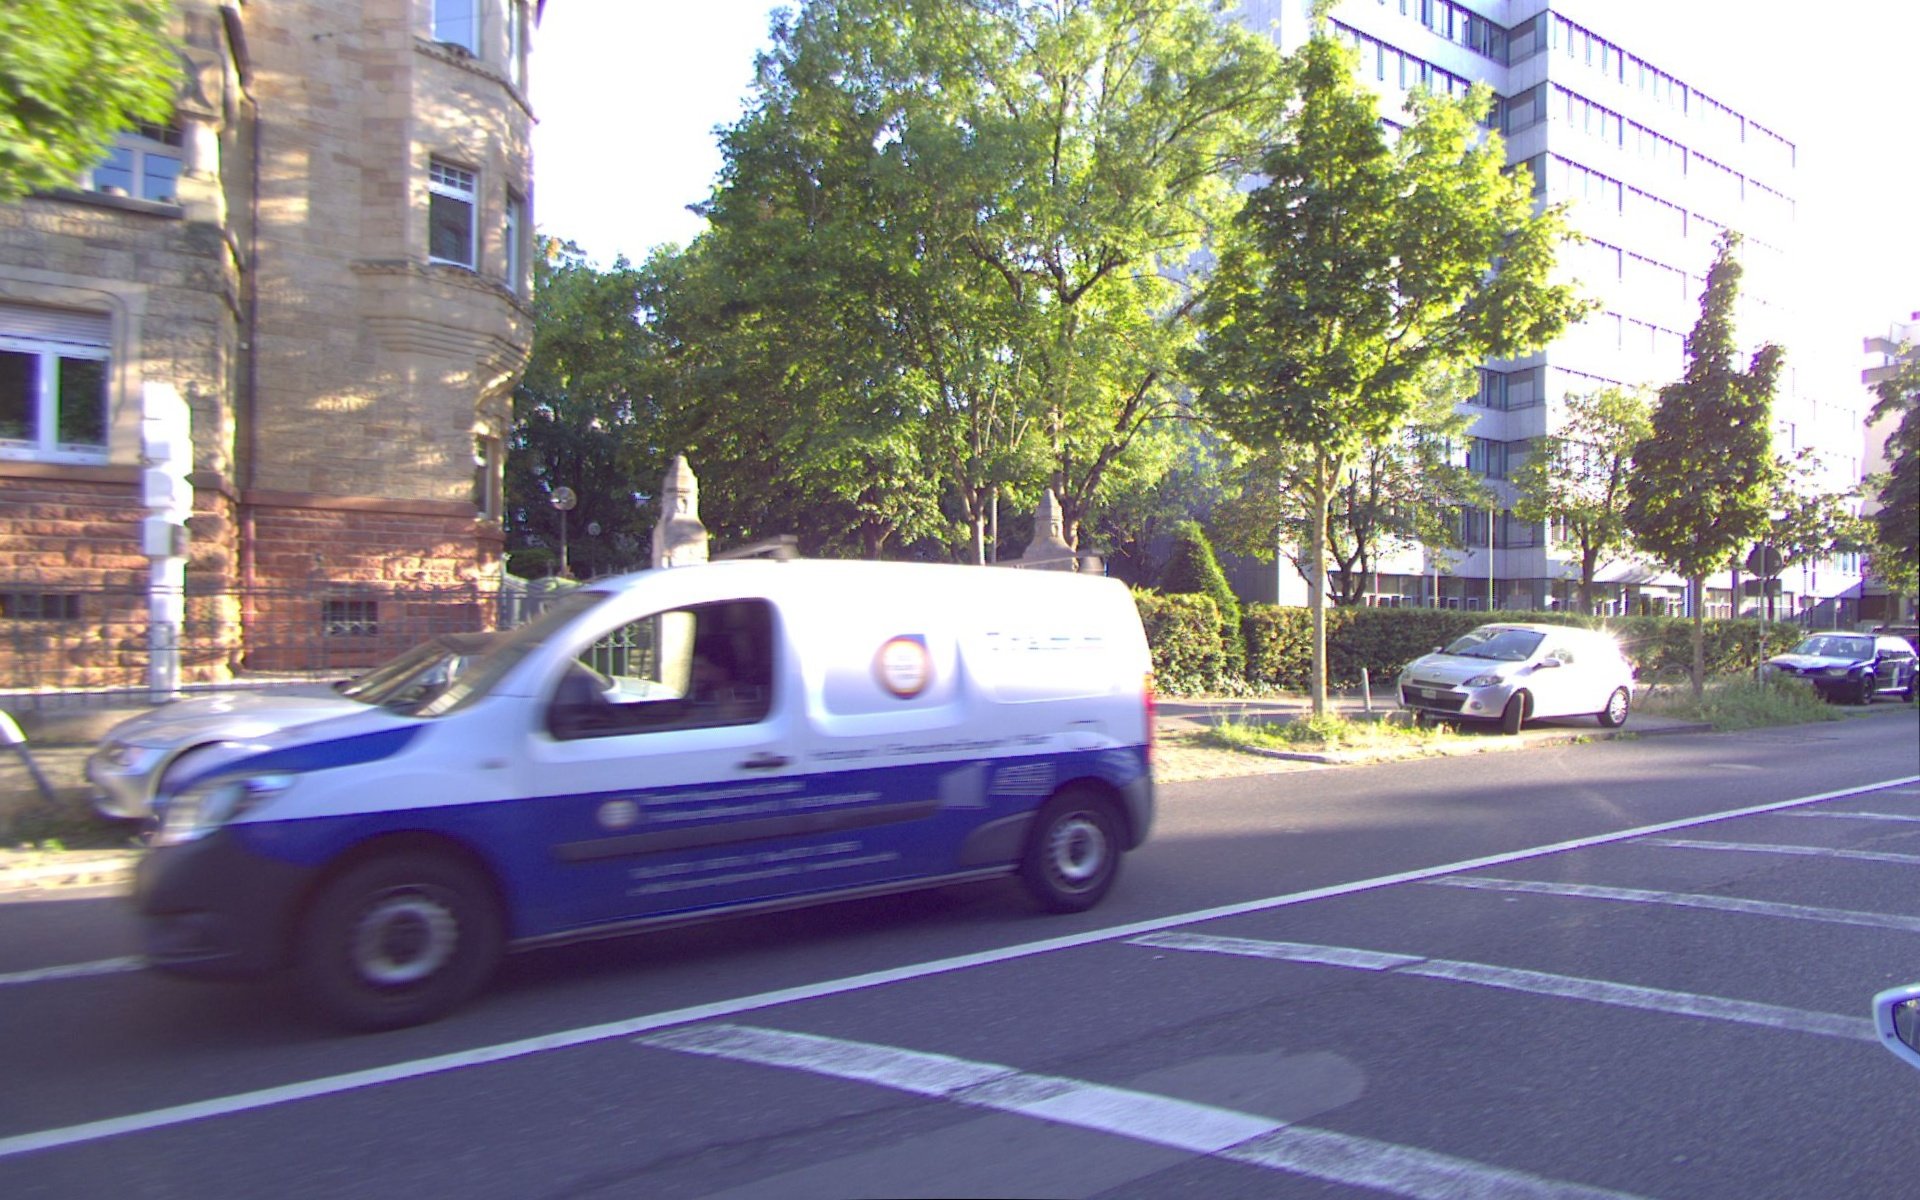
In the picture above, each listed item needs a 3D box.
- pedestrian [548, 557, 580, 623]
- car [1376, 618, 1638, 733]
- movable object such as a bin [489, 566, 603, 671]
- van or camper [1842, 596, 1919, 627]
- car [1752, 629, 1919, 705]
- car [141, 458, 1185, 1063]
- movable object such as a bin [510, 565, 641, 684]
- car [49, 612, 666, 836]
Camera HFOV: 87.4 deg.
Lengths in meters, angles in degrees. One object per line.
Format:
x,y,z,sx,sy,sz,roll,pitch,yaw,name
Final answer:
-10.576,-0.270,26.812,0.689,1.720,0.581,2,0,-29,pedestrian
8.230,1.053,15.041,3.955,1.471,1.688,1,1,-32,car
-6.401,0.260,15.457,1.314,1.397,1.930,2,4,-31,movable object such as a bin
82.066,1.050,88.182,2.422,2.556,6.528,1,1,-31,van or camper
18.683,1.376,21.347,3.955,1.404,1.629,1,1,-32,car
-1.120,0.568,5.086,4.424,1.877,1.823,1,-2,-32,car
-5.280,0.296,13.697,1.314,1.397,1.930,2,4,-31,movable object such as a bin
-4.194,0.774,7.476,3.573,1.265,1.527,1,1,-32,car
